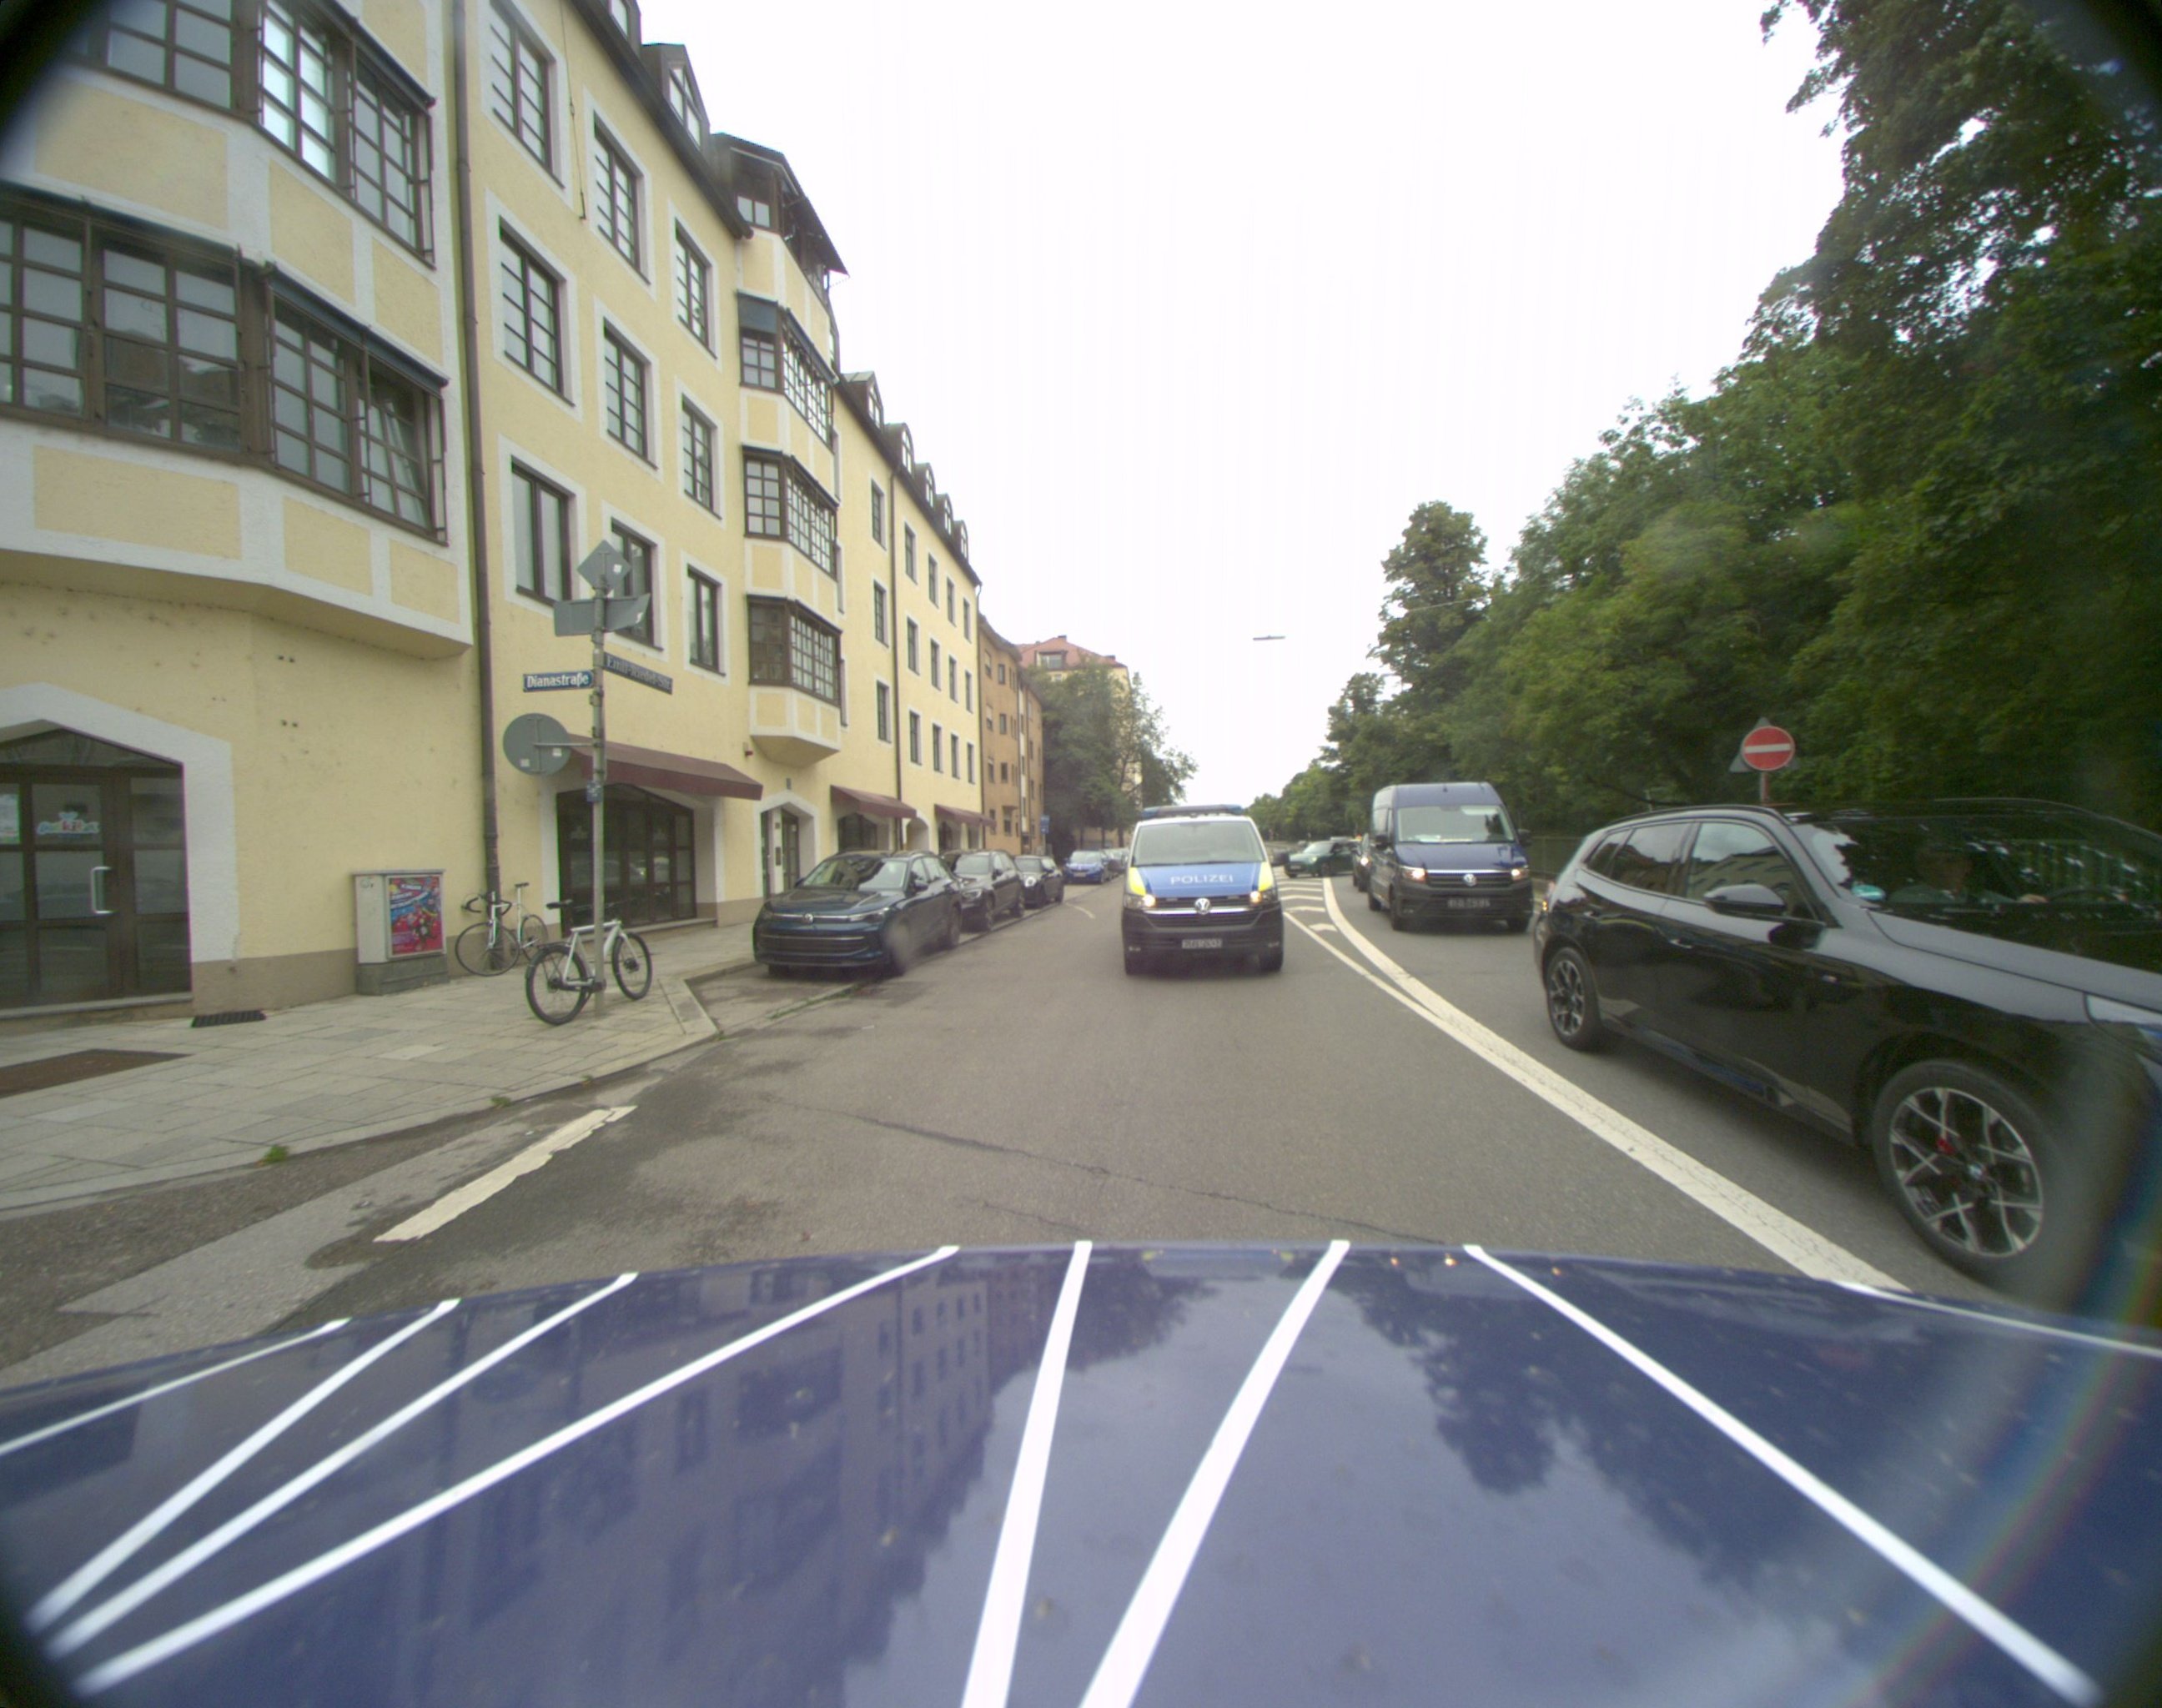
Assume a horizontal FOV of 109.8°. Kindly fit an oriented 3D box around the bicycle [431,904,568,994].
[{"bbox_3d":[-7.346,1.161,9.698,0.262,0.897,1.696,3,2,7],"label":"bicycle"}]

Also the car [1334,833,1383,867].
[{"bbox_3d":[14.616,-0.245,40.284,2.101,1.581,5.574,-3,0,17],"label":"car"}]

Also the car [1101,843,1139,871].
[{"bbox_3d":[2.554,0.167,49.008,1.882,1.642,4.302,-3,0,10],"label":"car"}]

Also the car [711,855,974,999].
[{"bbox_3d":[-3.169,0.882,11.297,2.111,1.613,4.497,-1,1,5],"label":"car"}]

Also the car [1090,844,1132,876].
[{"bbox_3d":[1.809,0.318,44.325,1.882,1.642,4.587,-3,0,8],"label":"car"}]

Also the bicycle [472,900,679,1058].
[{"bbox_3d":[-4.756,1.103,7.361,0.430,1.152,2.053,0,2,6],"label":"bicycle"}]

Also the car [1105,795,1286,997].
[{"bbox_3d":[1.550,0.428,10.891,1.826,2.087,5.635,-2,1,7],"label":"car"}]

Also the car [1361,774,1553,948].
[{"bbox_3d":[6.551,0.030,14.049,2.003,2.477,6.238,-2,2,16],"label":"car"}]

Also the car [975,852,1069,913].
[{"bbox_3d":[-1.559,0.723,21.550,1.763,1.514,3.934,0,1,10],"label":"car"}]

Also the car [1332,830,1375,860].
[{"bbox_3d":[17.194,-0.585,48.186,2.313,1.719,5.220,-3,0,17],"label":"car"}]

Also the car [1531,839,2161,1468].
[{"bbox_3d":[3.980,0.745,3.419,1.920,1.557,4.296,-1,1,9],"label":"car"}]

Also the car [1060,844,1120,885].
[{"bbox_3d":[0.519,0.402,34.278,1.882,1.642,5.620,0,1,9],"label":"car"}]

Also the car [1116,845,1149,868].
[{"bbox_3d":[3.739,0.177,54.300,1.882,1.474,4.302,-3,0,10],"label":"car"}]

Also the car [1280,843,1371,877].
[{"bbox_3d":[9.895,0.228,30.717,3.617,1.207,1.493,-3,1,-32],"label":"car"}]

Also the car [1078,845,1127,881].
[{"bbox_3d":[1.181,0.408,39.492,1.882,1.642,4.619,-3,0,9],"label":"car"}]

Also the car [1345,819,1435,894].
[{"bbox_3d":[9.334,0.017,23.383,2.004,1.925,5.812,-3,0,17],"label":"car"}]

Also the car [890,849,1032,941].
[{"bbox_3d":[-2.423,0.758,16.493,1.816,1.580,4.166,3,2,8],"label":"car"}]
